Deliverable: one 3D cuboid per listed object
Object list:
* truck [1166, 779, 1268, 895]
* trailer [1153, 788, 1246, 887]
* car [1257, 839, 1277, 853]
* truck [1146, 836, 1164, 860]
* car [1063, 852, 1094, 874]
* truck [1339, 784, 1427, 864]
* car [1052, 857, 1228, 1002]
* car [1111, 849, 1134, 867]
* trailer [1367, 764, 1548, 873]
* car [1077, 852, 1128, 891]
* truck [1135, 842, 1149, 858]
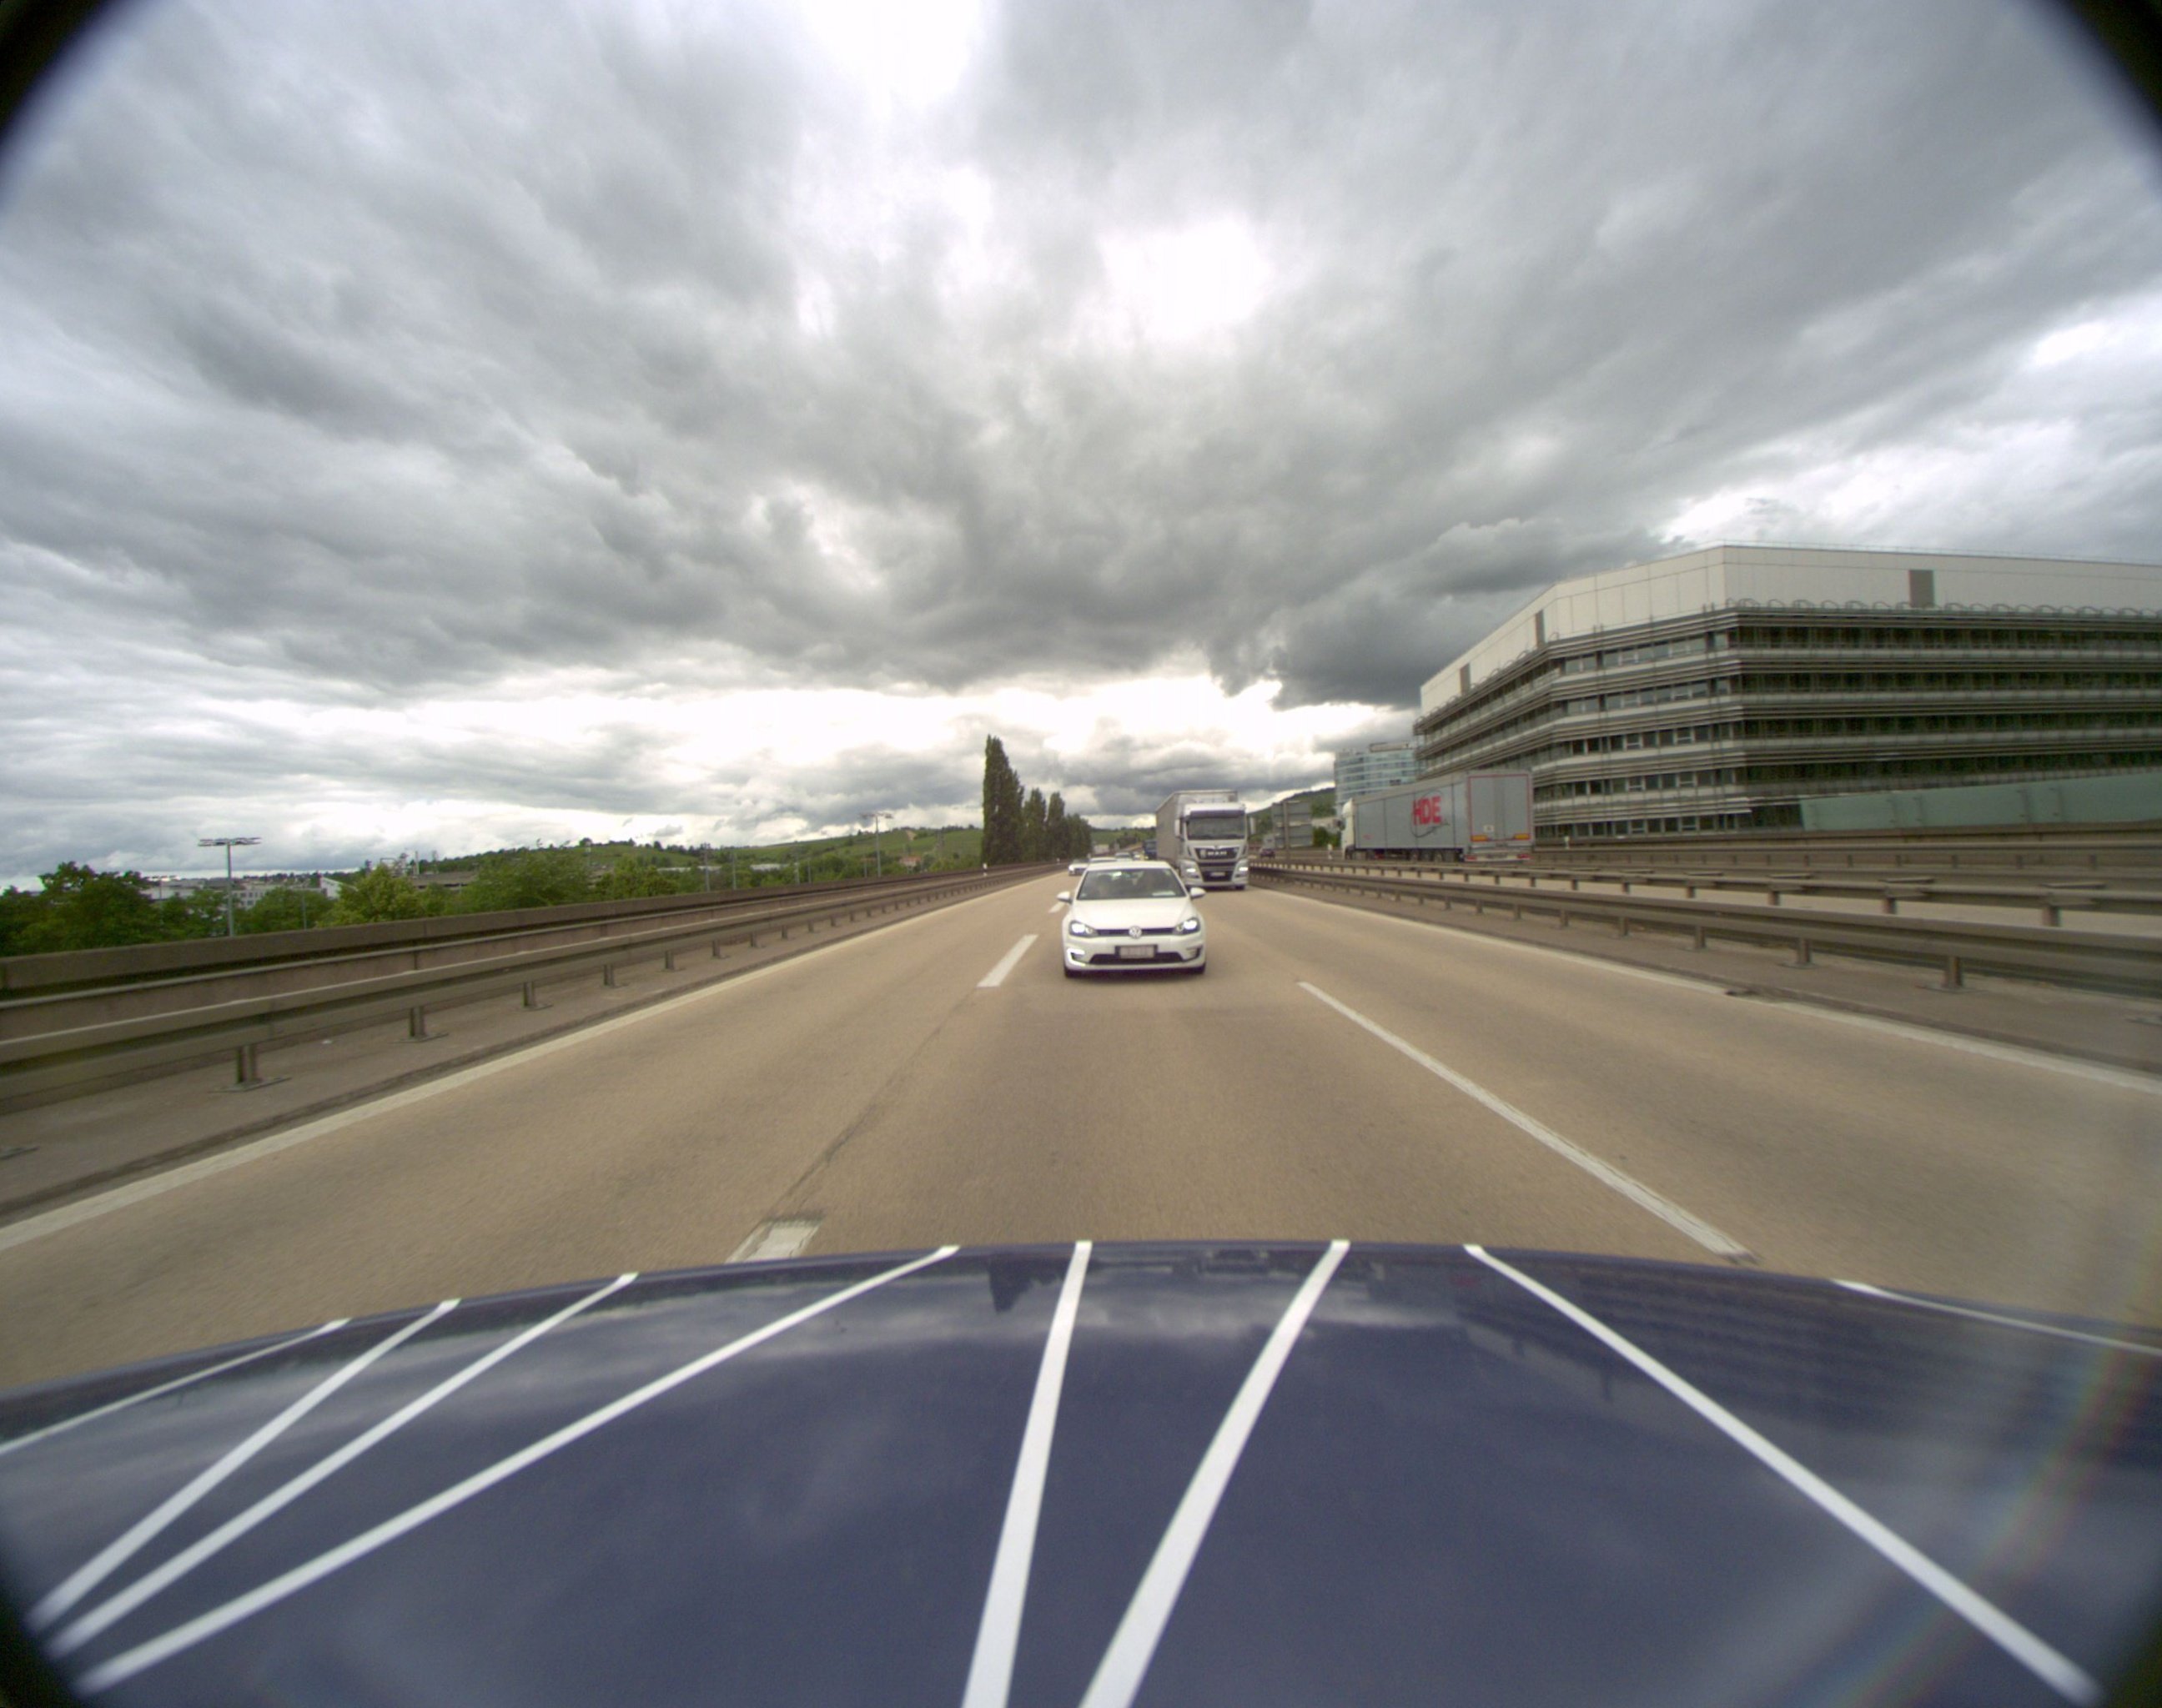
[{"bbox_3d":[5.237,-0.635,30.416,3.141,4.014,5.689,-4,1,3],"label":"truck"},{"bbox_3d":[5.623,-0.776,38.275,3.189,4.003,11.766,-4,1,3],"label":"trailer"},{"bbox_3d":[24.020,-1.009,98.181,1.687,1.641,4.360,-3,1,2],"label":"car"},{"bbox_3d":[10.703,-0.929,108.975,2.335,3.219,6.688,-2,1,7],"label":"truck"},{"bbox_3d":[-0.172,0.678,59.774,1.930,1.499,4.062,-3,1,6],"label":"car"},{"bbox_3d":[16.665,-1.582,42.376,2.778,4.056,5.646,-2,1,3],"label":"truck"},{"bbox_3d":[0.782,0.875,10.630,1.930,1.499,4.061,-2,1,3],"label":"car"},{"bbox_3d":[4.014,0.344,72.769,1.930,1.585,4.062,-3,1,6],"label":"car"},{"bbox_3d":[16.314,-1.400,34.360,2.851,3.964,11.886,-2,1,3],"label":"trailer"},{"bbox_3d":[1.052,0.742,34.774,1.930,1.499,4.062,-3,1,6],"label":"car"},{"bbox_3d":[12.494,-0.820,155.269,2.335,3.219,6.688,-2,1,7],"label":"truck"}]
